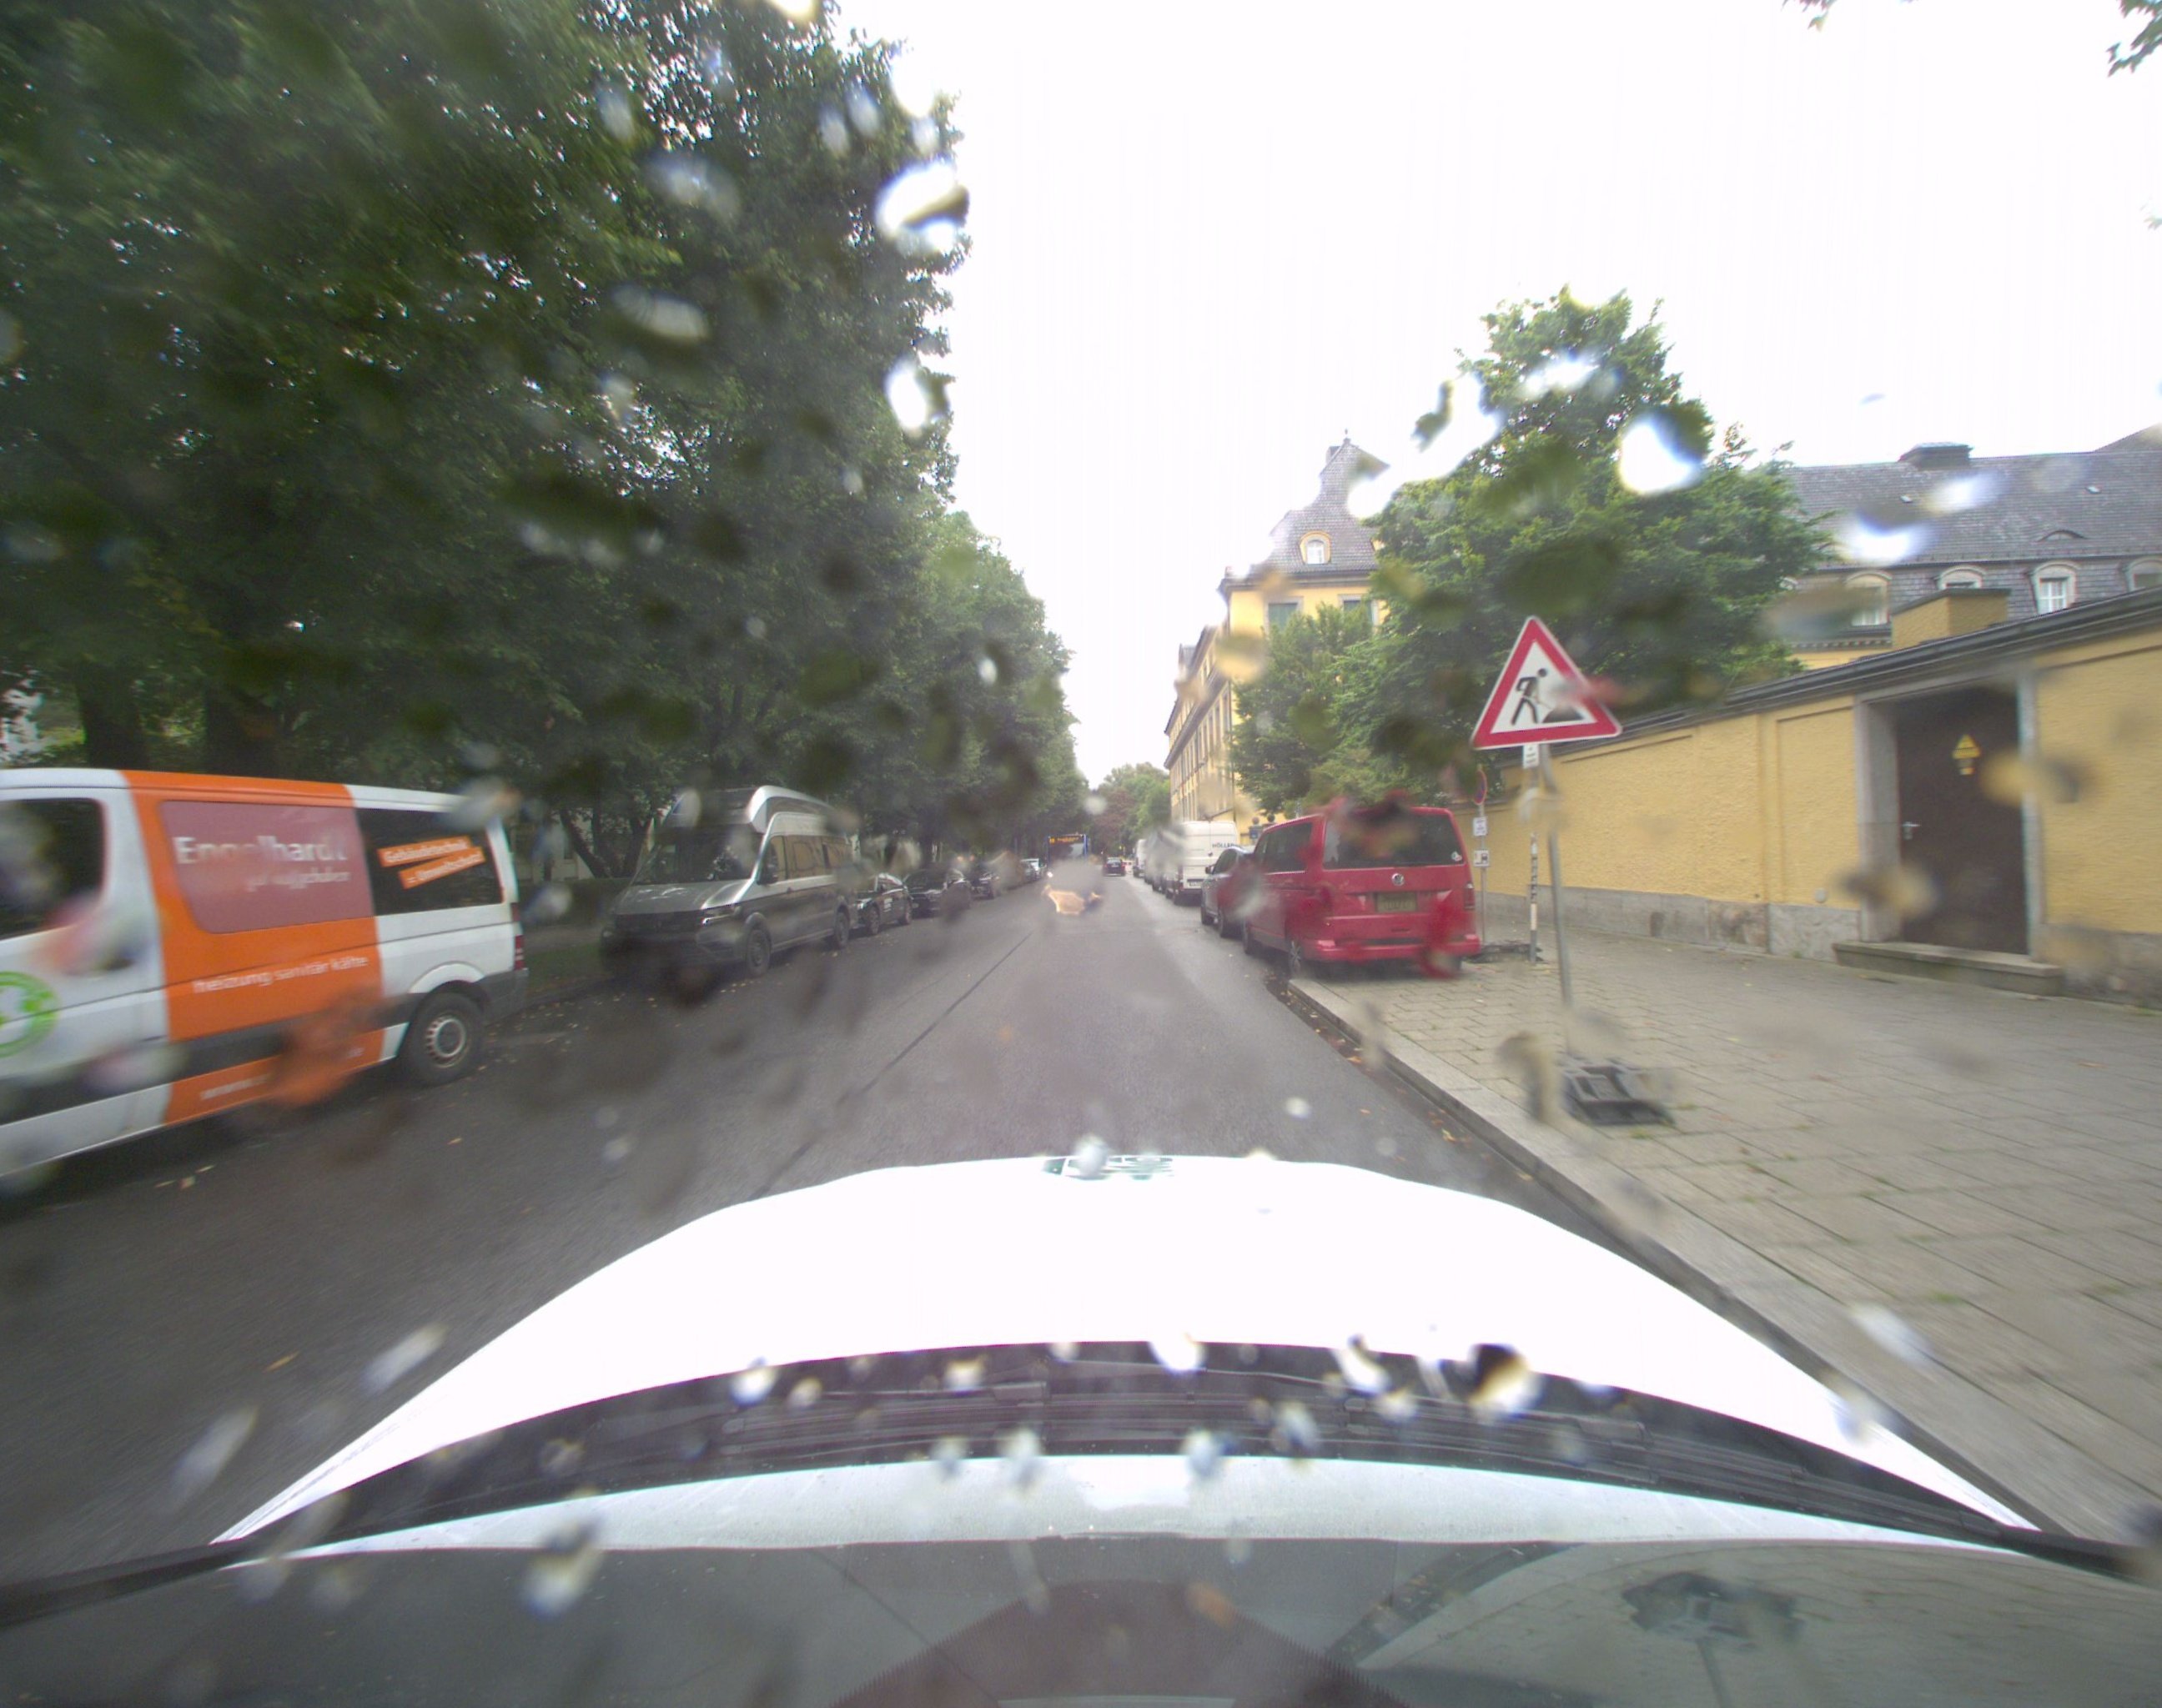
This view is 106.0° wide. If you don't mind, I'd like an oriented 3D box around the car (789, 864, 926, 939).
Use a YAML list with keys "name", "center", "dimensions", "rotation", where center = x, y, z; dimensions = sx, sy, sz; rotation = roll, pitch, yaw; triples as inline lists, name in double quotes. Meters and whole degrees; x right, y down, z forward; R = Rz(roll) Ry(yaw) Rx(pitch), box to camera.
- name: "car"
  center: [-5.222, 1.033, 19.691]
  dimensions: [1.783, 1.438, 4.582]
  rotation: [-3, 0, 3]

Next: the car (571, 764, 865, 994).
- name: "car"
  center: [-5.481, 0.379, 13.527]
  dimensions: [1.938, 2.854, 6.236]
  rotation: [-2, -1, 1]

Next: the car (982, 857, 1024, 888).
- name: "car"
  center: [-4.267, 0.994, 45.185]
  dimensions: [1.778, 1.597, 4.584]
  rotation: [-2, -1, 0]

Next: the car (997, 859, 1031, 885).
- name: "car"
  center: [-4.158, 1.115, 51.111]
  dimensions: [1.666, 1.469, 4.104]
  rotation: [-2, -1, 0]

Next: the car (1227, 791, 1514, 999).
- name: "car"
  center: [3.327, 0.451, 10.720]
  dimensions: [1.852, 1.967, 5.445]
  rotation: [-2, -1, 1]

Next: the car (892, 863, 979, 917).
- name: "car"
  center: [-4.391, 1.064, 25.232]
  dimensions: [1.784, 1.438, 4.551]
  rotation: [-2, -1, 1]

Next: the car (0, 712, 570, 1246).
- name: "car"
  center: [-5.803, 0.580, 4.731]
  dimensions: [2.107, 2.348, 5.408]
  rotation: [-2, 0, 1]

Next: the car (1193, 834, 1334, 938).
- name: "car"
  center: [3.414, 0.561, 16.115]
  dimensions: [1.852, 1.741, 4.604]
  rotation: [-1, 0, 1]

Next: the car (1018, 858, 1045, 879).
- name: "car"
  center: [-3.658, 1.044, 61.046]
  dimensions: [1.666, 1.469, 4.104]
  rotation: [-2, -1, 0]

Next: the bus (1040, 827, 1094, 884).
- name: "bus"
  center: [-0.680, 0.266, 57.400]
  dimensions: [2.849, 3.239, 18.429]
  rotation: [-2, -1, 1]

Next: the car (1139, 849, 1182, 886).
- name: "car"
  center: [4.342, 0.742, 45.062]
  dimensions: [1.864, 1.869, 4.986]
  rotation: [-2, -1, 0]

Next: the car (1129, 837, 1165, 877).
- name: "car"
  center: [4.728, 0.255, 59.502]
  dimensions: [2.047, 2.673, 7.614]
  rotation: [-2, -1, 1]

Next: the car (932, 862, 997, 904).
- name: "car"
  center: [-4.385, 1.079, 31.188]
  dimensions: [1.784, 1.454, 3.949]
  rotation: [-2, -1, 1]

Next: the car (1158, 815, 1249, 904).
- name: "car"
  center: [3.839, 0.220, 26.584]
  dimensions: [2.088, 2.488, 5.740]
  rotation: [-2, -1, 1]

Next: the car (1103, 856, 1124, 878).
- name: "car"
  center: [2.616, 1.009, 64.651]
  dimensions: [1.571, 1.584, 4.047]
  rotation: [-2, -1, 3]

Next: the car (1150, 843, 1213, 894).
- name: "car"
  center: [4.086, 0.578, 33.859]
  dimensions: [2.006, 1.906, 5.164]
  rotation: [-1, 0, 1]
